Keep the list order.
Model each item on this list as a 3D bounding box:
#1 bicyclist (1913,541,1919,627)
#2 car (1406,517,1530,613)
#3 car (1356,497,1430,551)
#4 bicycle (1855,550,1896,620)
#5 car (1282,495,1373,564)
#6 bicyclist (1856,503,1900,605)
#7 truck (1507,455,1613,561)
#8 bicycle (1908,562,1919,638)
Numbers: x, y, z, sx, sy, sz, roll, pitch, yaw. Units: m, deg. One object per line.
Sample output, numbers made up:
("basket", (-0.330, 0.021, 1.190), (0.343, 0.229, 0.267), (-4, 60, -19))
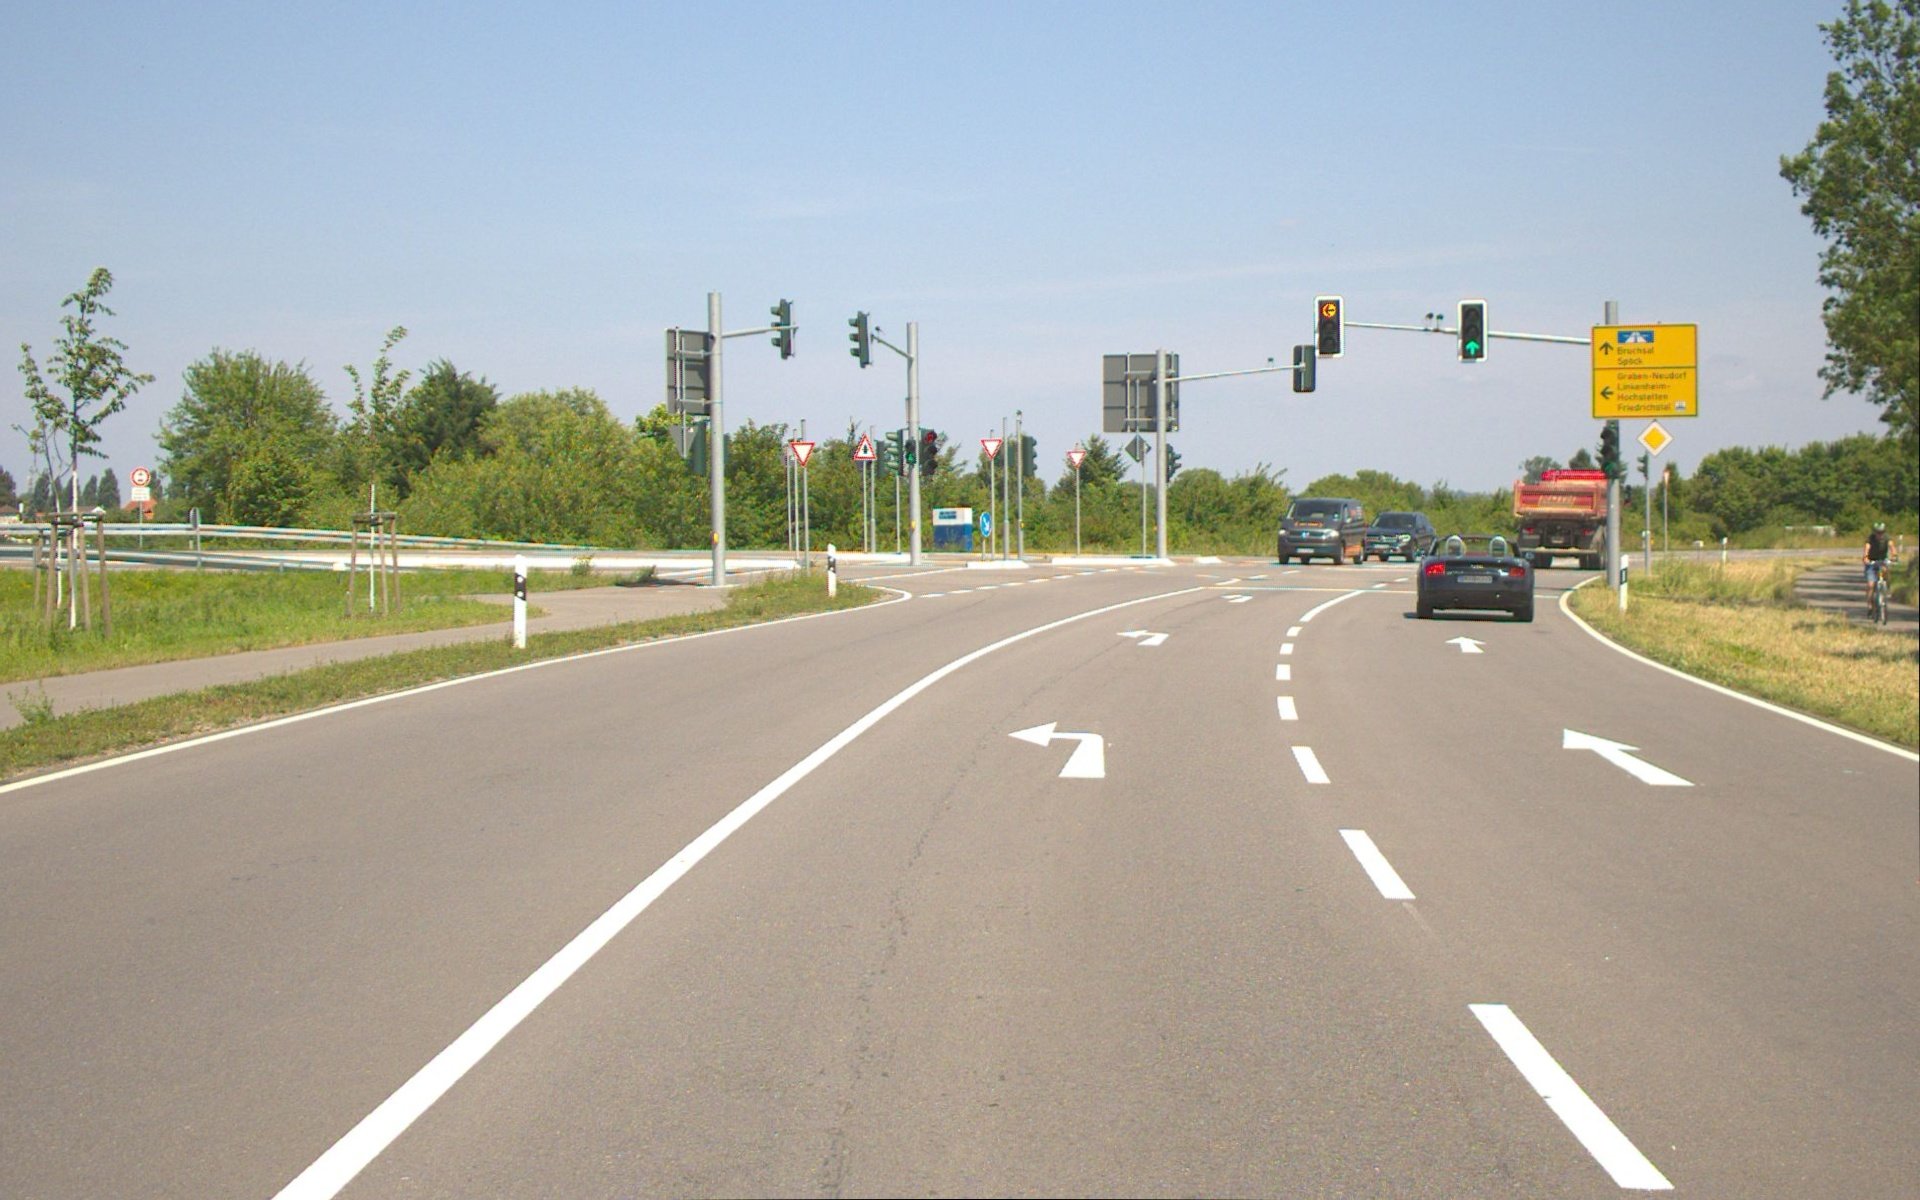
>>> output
("bicyclist", (16.081, -0.436, 56.456), (0.628, 1.776, 0.977), (5, 3, 11))
("car", (7.838, -0.522, 52.852), (1.748, 1.371, 3.677), (2, 0, 10))
("car", (14.370, -2.525, 113.904), (1.932, 1.733, 4.886), (1, 2, 13))
("bicycle", (16.093, -0.270, 60.411), (0.606, 1.172, 2.049), (4, 2, 16))
("car", (10.889, -2.107, 101.610), (1.932, 1.971, 4.681), (1, 2, 15))
("bicyclist", (16.117, -0.812, 60.356), (0.588, 1.728, 1.171), (5, 3, 16))
("truck", (18.497, -2.771, 105.663), (2.715, 3.042, 8.159), (1, 0, 13))
("bicycle", (16.022, 0.003, 56.443), (0.699, 1.206, 2.050), (3, 2, 12))
